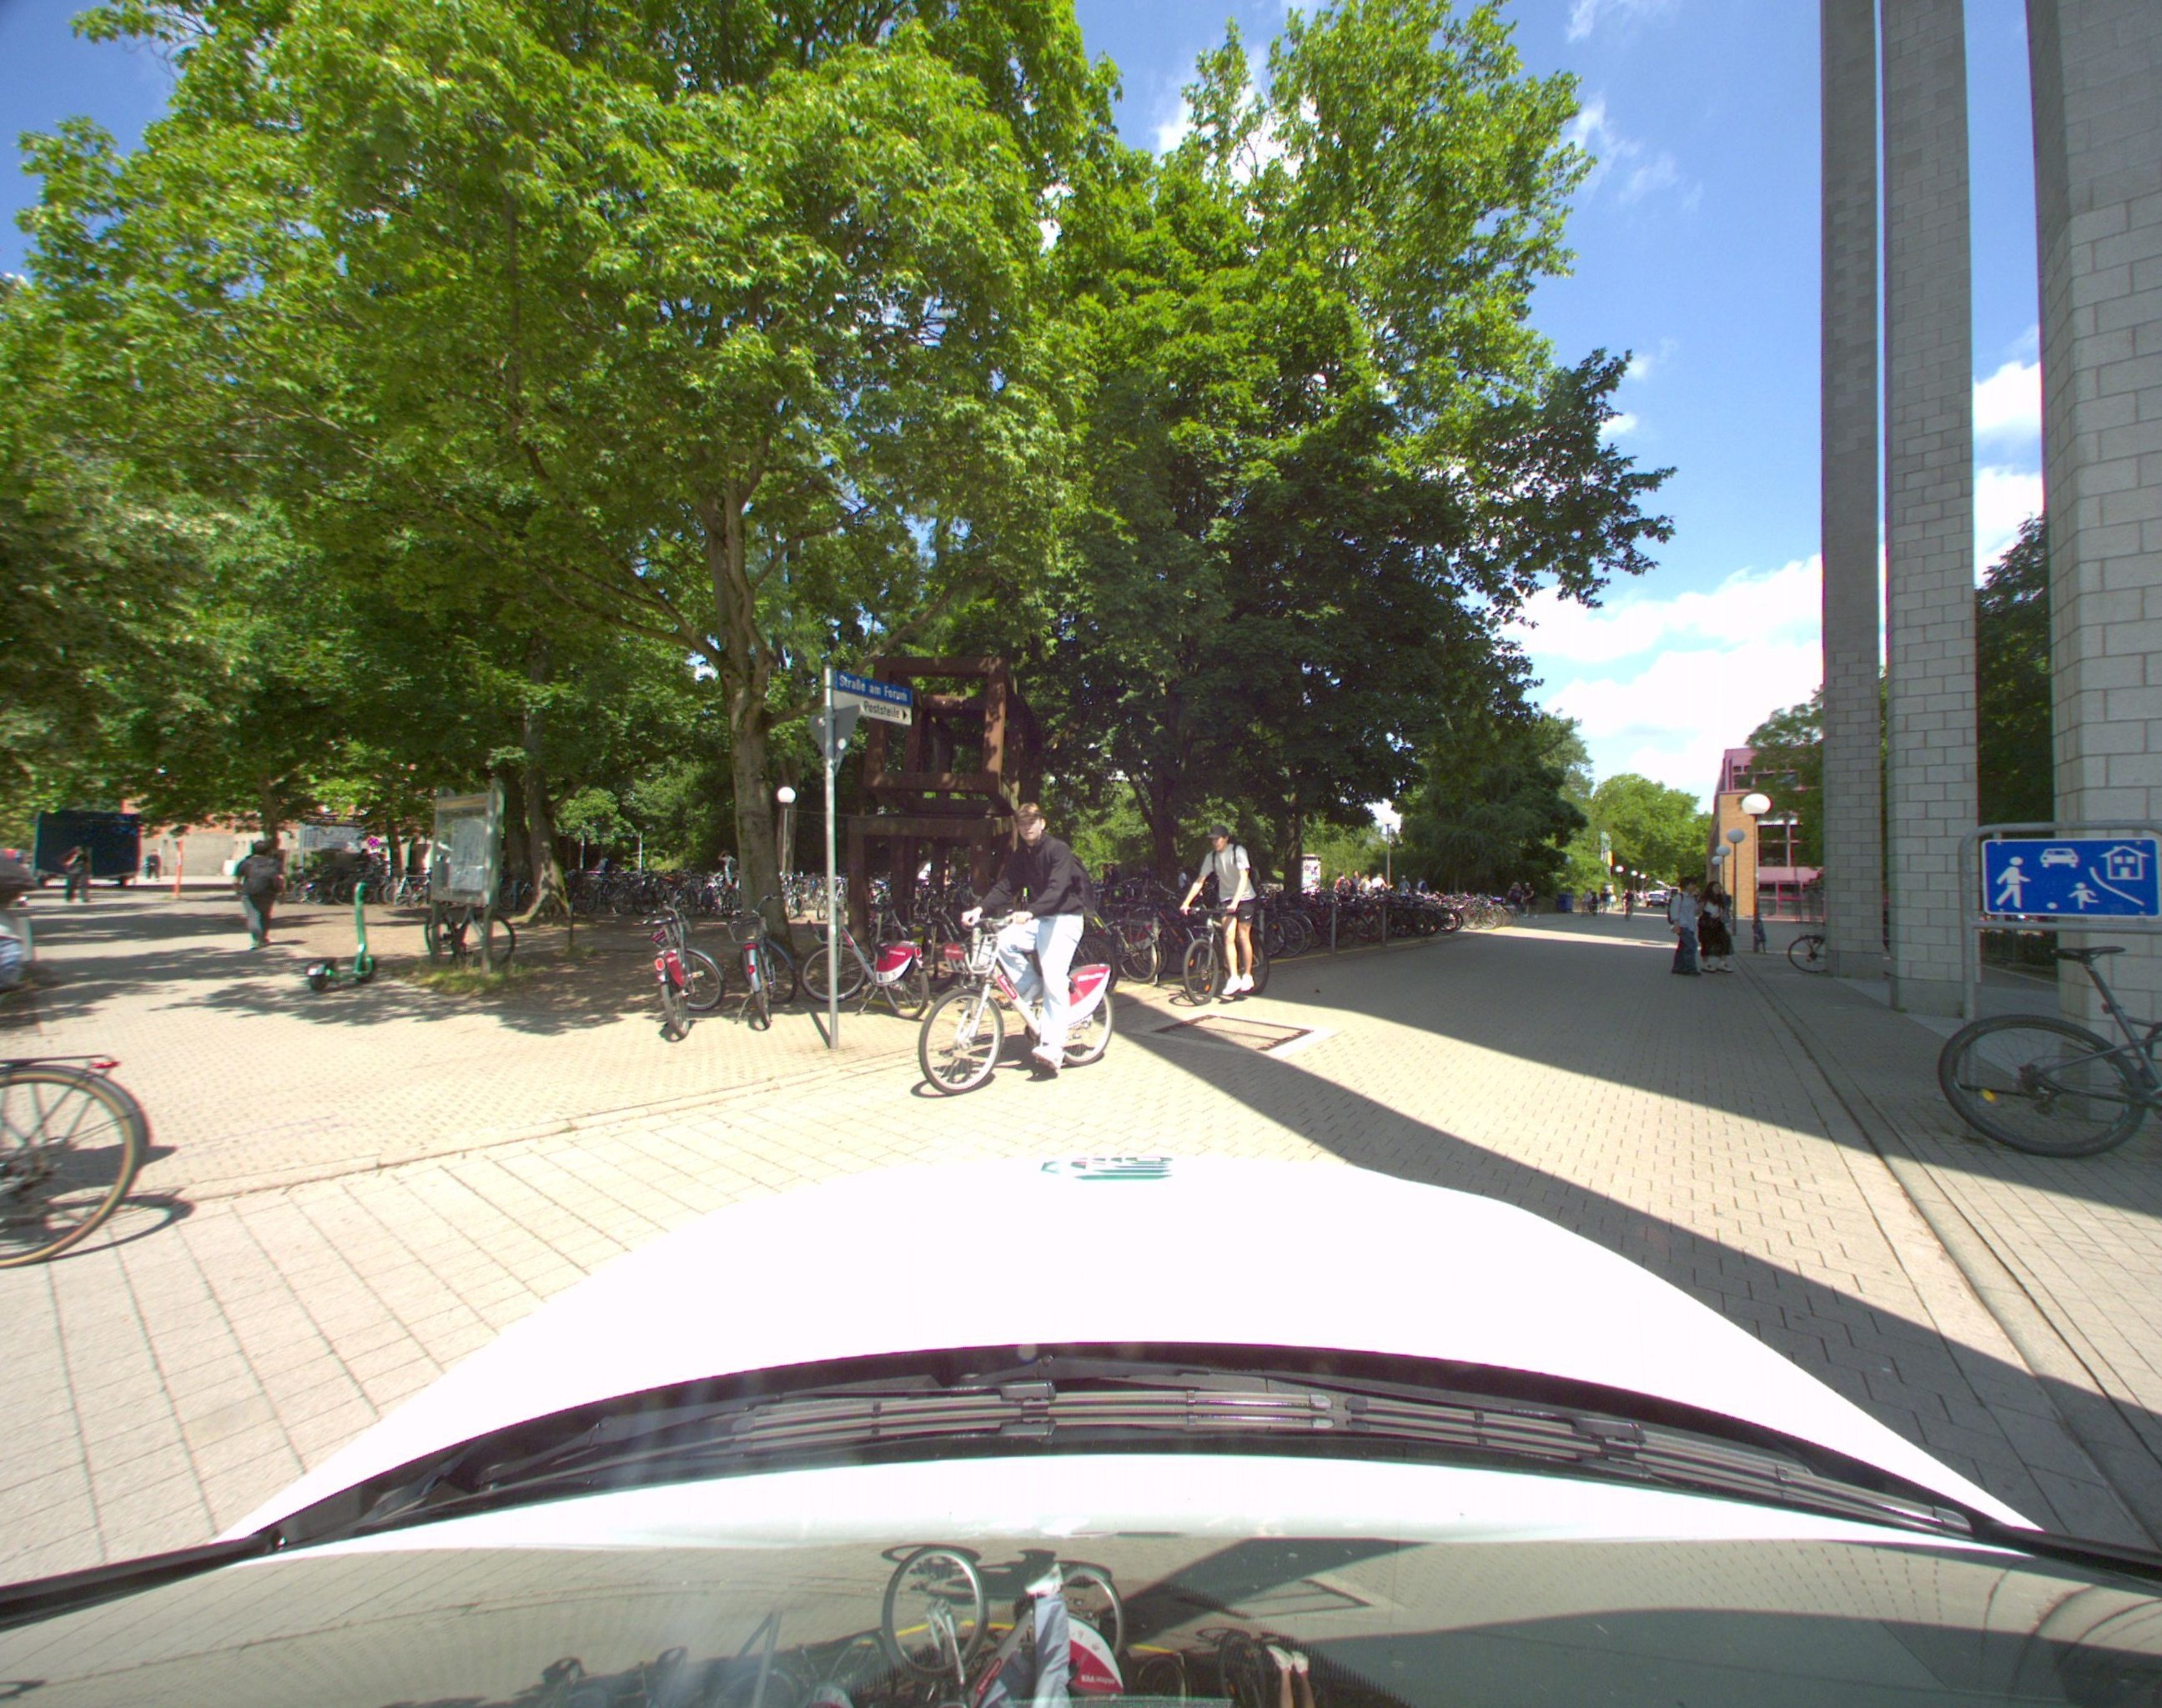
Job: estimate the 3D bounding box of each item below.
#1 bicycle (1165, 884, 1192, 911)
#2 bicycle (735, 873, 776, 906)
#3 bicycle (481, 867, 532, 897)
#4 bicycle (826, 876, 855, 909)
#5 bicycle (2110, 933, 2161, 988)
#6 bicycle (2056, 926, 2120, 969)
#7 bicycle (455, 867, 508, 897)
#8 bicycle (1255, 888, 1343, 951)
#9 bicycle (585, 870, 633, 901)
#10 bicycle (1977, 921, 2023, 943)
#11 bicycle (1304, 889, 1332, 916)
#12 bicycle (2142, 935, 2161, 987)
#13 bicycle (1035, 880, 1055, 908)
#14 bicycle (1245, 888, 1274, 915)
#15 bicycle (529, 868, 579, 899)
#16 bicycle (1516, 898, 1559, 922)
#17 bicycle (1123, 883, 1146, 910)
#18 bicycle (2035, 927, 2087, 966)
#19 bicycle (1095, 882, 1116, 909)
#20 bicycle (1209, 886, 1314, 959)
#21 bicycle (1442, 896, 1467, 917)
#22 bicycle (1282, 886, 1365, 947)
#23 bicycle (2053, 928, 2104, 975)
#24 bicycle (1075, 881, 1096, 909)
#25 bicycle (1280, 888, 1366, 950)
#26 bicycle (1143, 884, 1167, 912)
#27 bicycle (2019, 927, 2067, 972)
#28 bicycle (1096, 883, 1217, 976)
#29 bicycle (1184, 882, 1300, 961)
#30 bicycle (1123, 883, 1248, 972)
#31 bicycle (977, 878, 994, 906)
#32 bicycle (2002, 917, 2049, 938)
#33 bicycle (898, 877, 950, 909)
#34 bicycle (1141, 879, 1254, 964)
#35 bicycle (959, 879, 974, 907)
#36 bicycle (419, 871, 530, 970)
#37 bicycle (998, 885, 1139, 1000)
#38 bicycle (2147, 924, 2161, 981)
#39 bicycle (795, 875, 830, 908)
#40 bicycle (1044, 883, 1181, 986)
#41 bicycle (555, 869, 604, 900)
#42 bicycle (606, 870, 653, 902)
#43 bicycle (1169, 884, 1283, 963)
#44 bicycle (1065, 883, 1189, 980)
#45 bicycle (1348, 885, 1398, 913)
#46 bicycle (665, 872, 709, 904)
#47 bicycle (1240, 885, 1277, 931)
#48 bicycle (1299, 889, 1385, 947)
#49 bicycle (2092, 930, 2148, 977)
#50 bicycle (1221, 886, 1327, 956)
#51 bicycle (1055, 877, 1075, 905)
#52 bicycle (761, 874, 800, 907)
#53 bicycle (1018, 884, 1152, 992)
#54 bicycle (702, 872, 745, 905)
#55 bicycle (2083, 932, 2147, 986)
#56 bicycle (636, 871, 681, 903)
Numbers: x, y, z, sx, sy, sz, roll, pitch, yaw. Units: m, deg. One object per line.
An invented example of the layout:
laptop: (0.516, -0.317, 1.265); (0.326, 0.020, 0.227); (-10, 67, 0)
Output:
bicycle: (4.191, 1.860, 35.104); (0.516, 1.110, 1.769); (3, -2, -14)
bicycle: (-11.455, 1.248, 28.732); (0.470, 1.084, 1.703); (2, -2, 9)
bicycle: (-21.621, 1.073, 30.680); (0.470, 1.084, 1.703); (2, -2, 9)
bicycle: (-8.361, 1.319, 28.327); (0.471, 1.084, 1.698); (3, -2, -1)
bicycle: (19.454, 1.944, 14.926); (0.288, 0.905, 1.457); (0, -3, 34)
bicycle: (24.194, 2.235, 19.596); (0.288, 0.905, 1.816); (0, -2, 29)
bicycle: (-22.625, 1.067, 30.765); (0.470, 1.084, 1.703); (2, -2, 9)
bicycle: (4.239, 1.251, 15.920); (0.565, 1.108, 1.611); (4, -3, -39)
bicycle: (-17.059, 1.130, 29.497); (0.470, 1.084, 1.703); (2, -2, 9)
bicycle: (52.416, 4.461, 46.468); (1.678, 1.110, 0.477); (2, -2, 41)
bicycle: (10.568, 2.160, 36.328); (0.472, 1.110, 1.772); (3, -2, -9)
bicycle: (19.648, 1.947, 14.606); (0.288, 0.905, 1.457); (0, -3, 34)
bicycle: (-1.519, 1.659, 34.228); (0.516, 1.110, 1.771); (3, -2, -10)
bicycle: (7.947, 2.097, 36.314); (0.473, 1.110, 1.769); (3, -2, -14)
bicycle: (-19.229, 1.083, 29.760); (0.470, 1.084, 1.703); (2, -2, 9)
bicycle: (22.957, 2.832, 40.963); (1.831, 1.110, 0.474); (3, -2, 3)
bicycle: (2.288, 1.798, 34.702); (0.516, 1.110, 1.771); (3, -2, -10)
bicycle: (25.547, 2.407, 21.259); (0.288, 0.905, 1.628); (0, -3, 29)
bicycle: (1.038, 1.755, 34.770); (0.516, 1.110, 1.771); (3, -2, -10)
bicycle: (3.028, 1.130, 13.729); (1.609, 1.108, 0.500); (1, -2, 32)
bicycle: (20.289, 2.848, 44.301); (0.471, 1.047, 1.697); (3, -2, -3)
bicycle: (4.989, 1.267, 16.801); (0.499, 1.144, 1.611); (4, -3, -39)
bicycle: (21.664, 2.101, 17.706); (0.288, 0.905, 1.457); (0, -3, 34)
bicycle: (0.180, 1.745, 34.763); (0.516, 1.110, 1.771); (3, -2, -10)
bicycle: (4.780, 1.276, 16.185); (0.499, 1.108, 1.611); (4, -3, -39)
bicycle: (3.170, 1.867, 34.853); (0.516, 1.110, 1.771); (3, -2, -10)
bicycle: (21.186, 2.086, 17.953); (0.288, 0.905, 1.457); (0, -3, 34)
bicycle: (0.993, 0.982, 10.978); (1.609, 1.108, 0.500); (1, -3, 42)
bicycle: (2.629, 1.085, 13.408); (1.762, 1.162, 0.500); (1, -2, 32)
bicycle: (1.462, 1.003, 11.533); (1.609, 1.108, 0.695); (1, -3, 42)
bicycle: (-3.976, 1.553, 33.732); (0.516, 1.110, 1.771); (3, -2, -10)
bicycle: (57.081, 4.448, 49.228); (1.789, 1.110, 0.477); (2, -2, 32)
bicycle: (-5.749, 1.434, 29.878); (1.683, 1.084, 0.606); (2, -2, 10)
bicycle: (1.739, 0.996, 12.315); (1.609, 1.151, 0.500); (1, -3, 38)
bicycle: (-4.729, 1.590, 33.563); (0.516, 1.110, 1.771); (3, -2, -10)
bicycle: (-7.645, 0.804, 10.236); (1.816, 1.108, 0.395); (2, -2, 31)
bicycle: (-0.166, 0.933, 9.013); (1.609, 1.108, 0.500); (1, -3, 42)
bicycle: (20.983, 1.904, 15.551); (0.288, 1.094, 1.457); (0, -3, 34)
bicycle: (-9.331, 1.294, 28.376); (0.470, 1.084, 1.701); (3, -2, 4)
bicycle: (0.362, 0.954, 10.045); (1.609, 1.108, 0.633); (1, -3, 42)
bicycle: (-18.157, 1.101, 29.522); (0.470, 1.084, 1.703); (2, -2, 9)
bicycle: (-16.126, 1.138, 29.145); (0.470, 1.084, 1.703); (2, -2, 9)
bicycle: (2.282, 1.075, 12.869); (1.609, 1.108, 0.649); (1, -2, 32)
bicycle: (0.570, 0.971, 10.607); (1.609, 1.108, 0.509); (1, -3, 42)
bicycle: (12.251, 1.889, 34.198); (1.885, 1.047, 0.545); (2, -2, 26)
bicycle: (-14.053, 1.197, 29.086); (0.470, 1.084, 1.703); (2, -2, 9)
bicycle: (4.935, 1.498, 22.766); (0.572, 1.200, 1.698); (3, -2, -2)
bicycle: (5.494, 1.326, 17.240); (0.577, 1.108, 1.722); (4, -2, -33)
bicycle: (22.192, 2.105, 17.420); (0.288, 0.905, 1.457); (0, -3, 34)
bicycle: (3.447, 1.175, 14.623); (0.723, 1.108, 1.706); (5, -3, -42)
bicycle: (-0.671, 1.545, 34.461); (0.516, 1.110, 1.771); (3, -2, -10)
bicycle: (-10.483, 1.259, 28.446); (0.470, 1.084, 1.703); (2, -2, 9)
bicycle: (0.022, 0.946, 9.591); (1.609, 1.108, 0.500); (1, -3, 42)
bicycle: (-12.674, 1.222, 28.922); (0.470, 1.084, 1.703); (2, -2, 9)
bicycle: (19.194, 1.929, 15.136); (0.288, 0.905, 1.457); (0, -3, 34)
bicycle: (-15.018, 1.163, 28.991); (0.470, 1.084, 1.703); (2, -2, 9)
